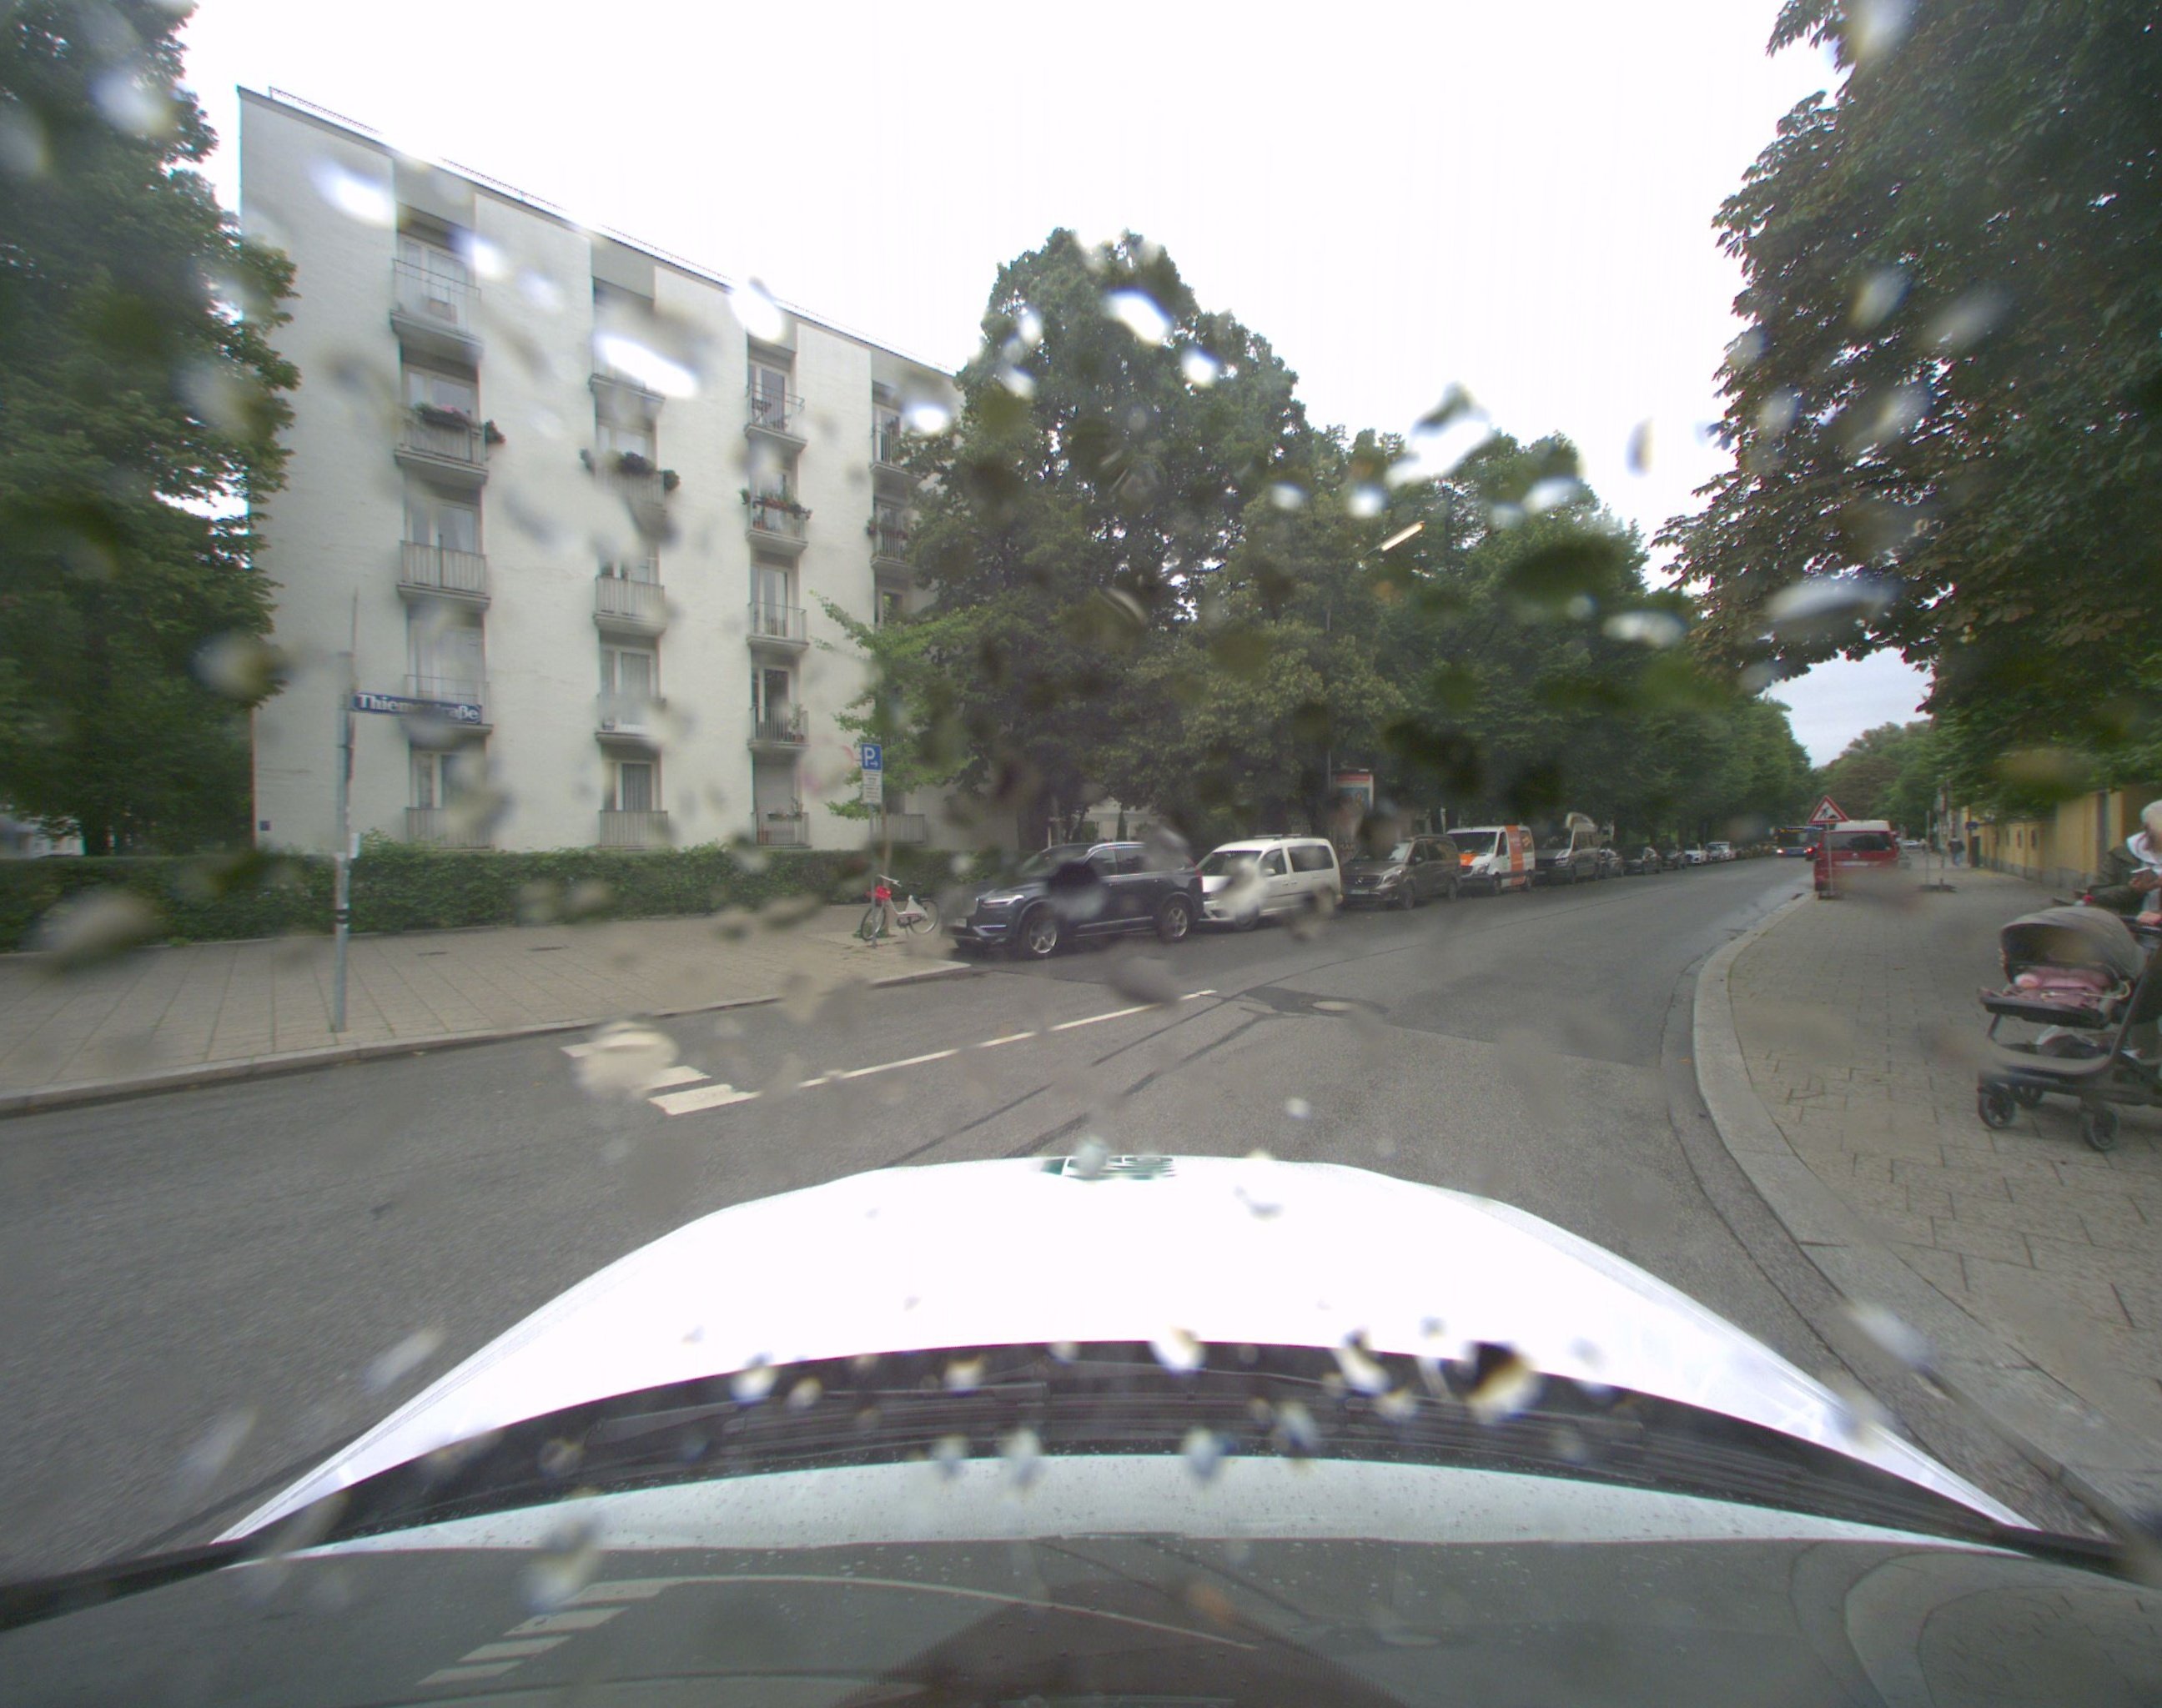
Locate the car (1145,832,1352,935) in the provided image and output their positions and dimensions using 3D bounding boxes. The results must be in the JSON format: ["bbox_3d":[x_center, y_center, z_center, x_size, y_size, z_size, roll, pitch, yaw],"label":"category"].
[{"bbox_3d":[3.717,0.518,17.488,4.895,1.894,1.909,-1,0,-44],"label":"car"}]

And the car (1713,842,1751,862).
[{"bbox_3d":[53.627,-0.181,67.059,4.097,1.571,1.878,-1,1,-43],"label":"car"}]

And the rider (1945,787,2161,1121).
[{"bbox_3d":[5.800,0.496,4.517,1.143,1.668,1.075,-1,-2,-30],"label":"rider"}]

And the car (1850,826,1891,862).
[{"bbox_3d":[58.016,-0.718,59.891,2.022,2.558,5.280,0,0,43],"label":"car"}]

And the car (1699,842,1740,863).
[{"bbox_3d":[48.954,-0.133,62.444,4.097,1.571,1.878,-1,1,-43],"label":"car"}]

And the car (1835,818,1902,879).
[{"bbox_3d":[35.455,-0.278,36.775,2.022,2.558,5.280,0,0,43],"label":"car"}]

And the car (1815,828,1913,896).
[{"bbox_3d":[24.336,0.201,25.457,2.022,1.922,4.473,0,1,42],"label":"car"}]

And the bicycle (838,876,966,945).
[{"bbox_3d":[-3.096,0.938,14.202,1.982,1.051,0.903,-1,0,-42],"label":"bicycle"}]

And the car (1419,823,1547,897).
[{"bbox_3d":[13.578,0.162,27.340,5.224,2.251,2.092,-1,0,-43],"label":"car"}]

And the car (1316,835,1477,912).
[{"bbox_3d":[8.616,0.432,22.025,5.014,1.859,2.047,-1,0,-43],"label":"car"}]

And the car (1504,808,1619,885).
[{"bbox_3d":[20.210,-0.321,34.067,6.615,2.922,2.314,-1,0,-43],"label":"car"}]

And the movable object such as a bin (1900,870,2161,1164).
[{"bbox_3d":[5.083,0.732,4.089,1.090,1.267,1.071,-1,-2,-30],"label":"movable object such as a bin"}]

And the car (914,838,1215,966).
[{"bbox_3d":[-0.108,0.634,13.682,4.934,1.767,2.047,-1,0,-43],"label":"car"}]

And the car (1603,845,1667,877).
[{"bbox_3d":[28.261,0.317,41.512,4.097,1.538,1.878,-1,1,-43],"label":"car"}]

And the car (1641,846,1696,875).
[{"bbox_3d":[34.354,0.339,47.622,4.097,1.571,1.878,-1,1,-43],"label":"car"}]

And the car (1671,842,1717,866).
[{"bbox_3d":[42.159,-0.026,55.992,4.097,1.571,1.878,-1,1,-43],"label":"car"}]

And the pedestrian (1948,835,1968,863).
[{"bbox_3d":[50.342,-0.268,46.733,0.699,1.585,0.851,-1,0,42],"label":"pedestrian"}]

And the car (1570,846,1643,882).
[{"bbox_3d":[24.644,0.447,38.142,4.334,1.571,1.878,-1,1,-43],"label":"car"}]

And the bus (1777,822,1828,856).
[{"bbox_3d":[75.383,-1.528,84.930,2.999,3.309,14.957,0,1,45],"label":"bus"}]
